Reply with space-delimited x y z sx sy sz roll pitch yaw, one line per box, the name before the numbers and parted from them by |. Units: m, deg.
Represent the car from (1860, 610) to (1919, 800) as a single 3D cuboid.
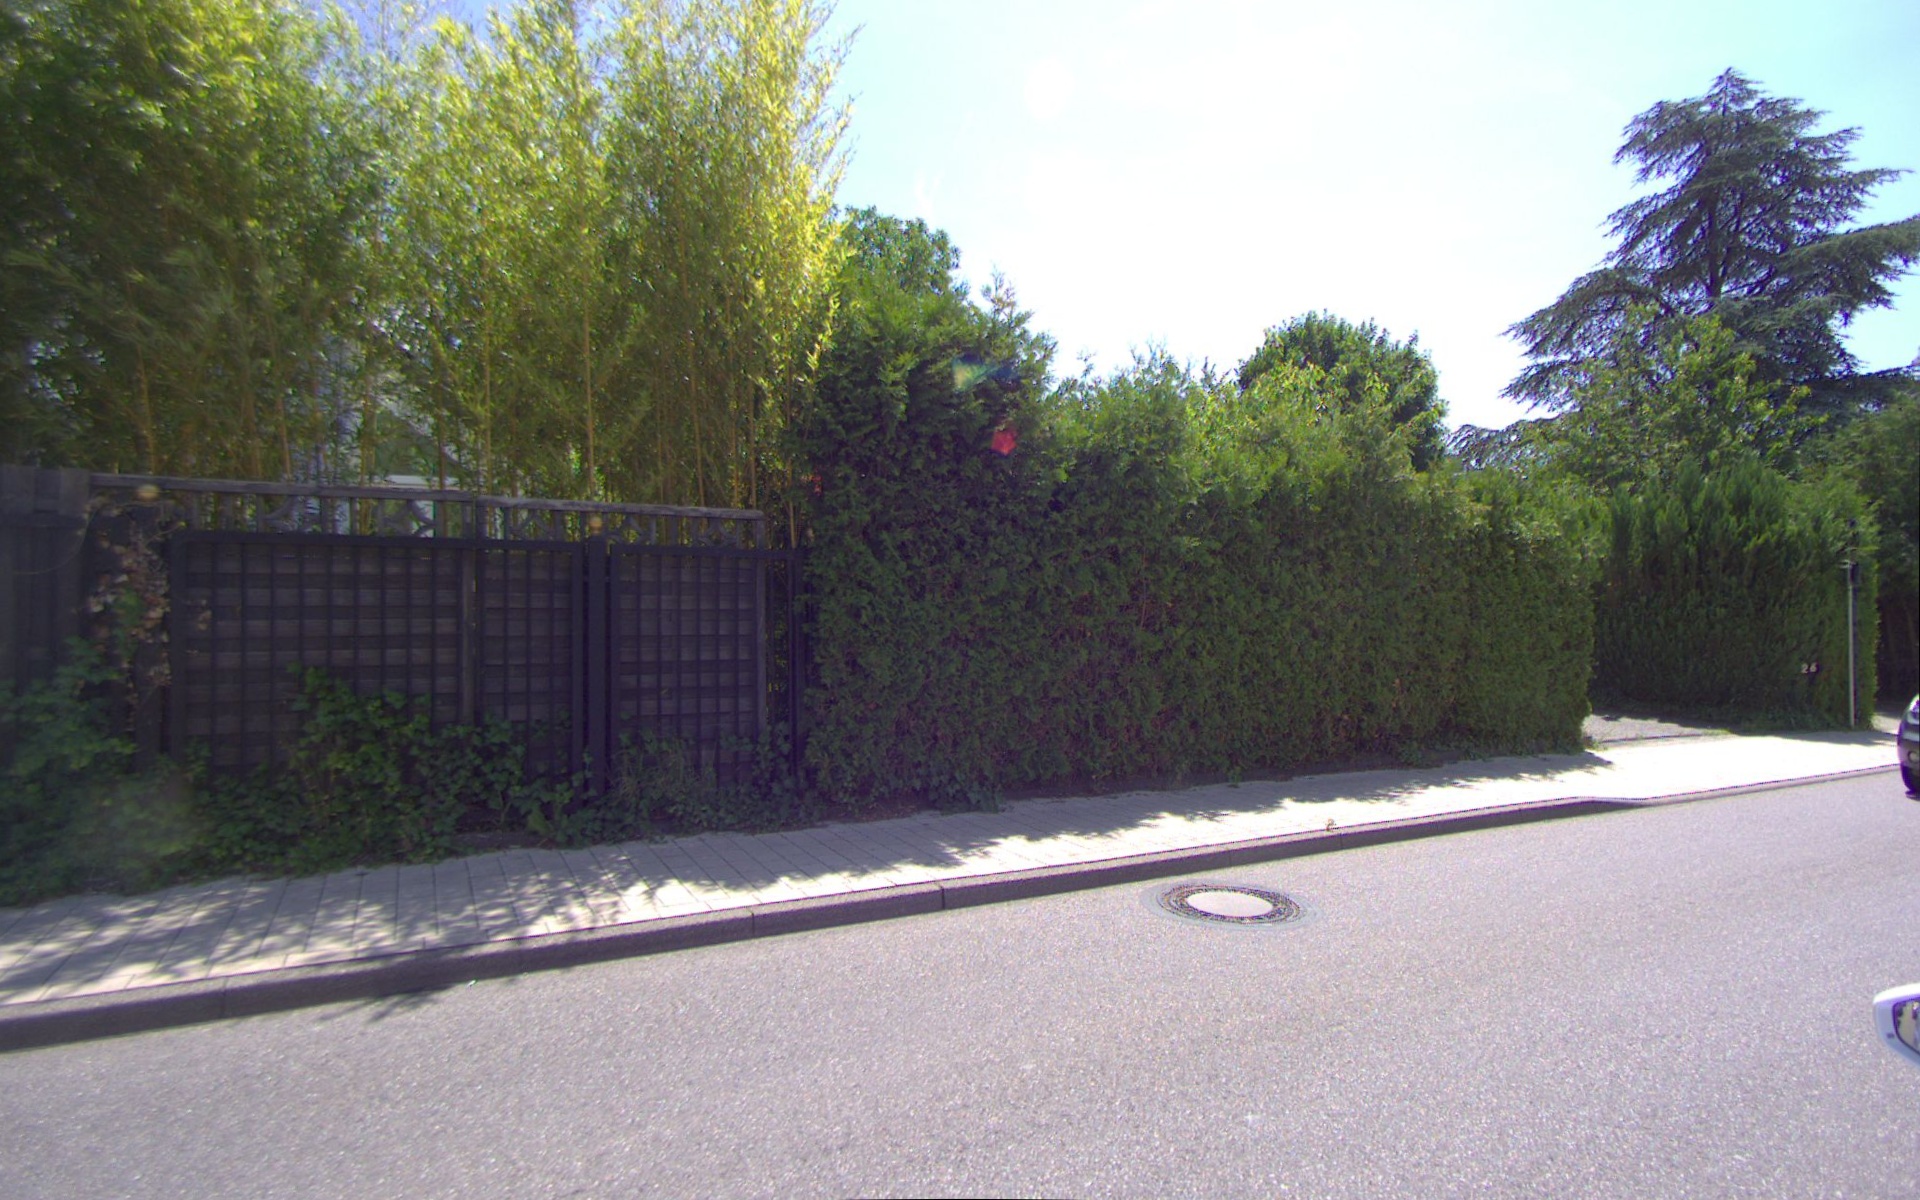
car | 10.409 0.953 9.384 3.901 1.674 1.859 1 0 -30
